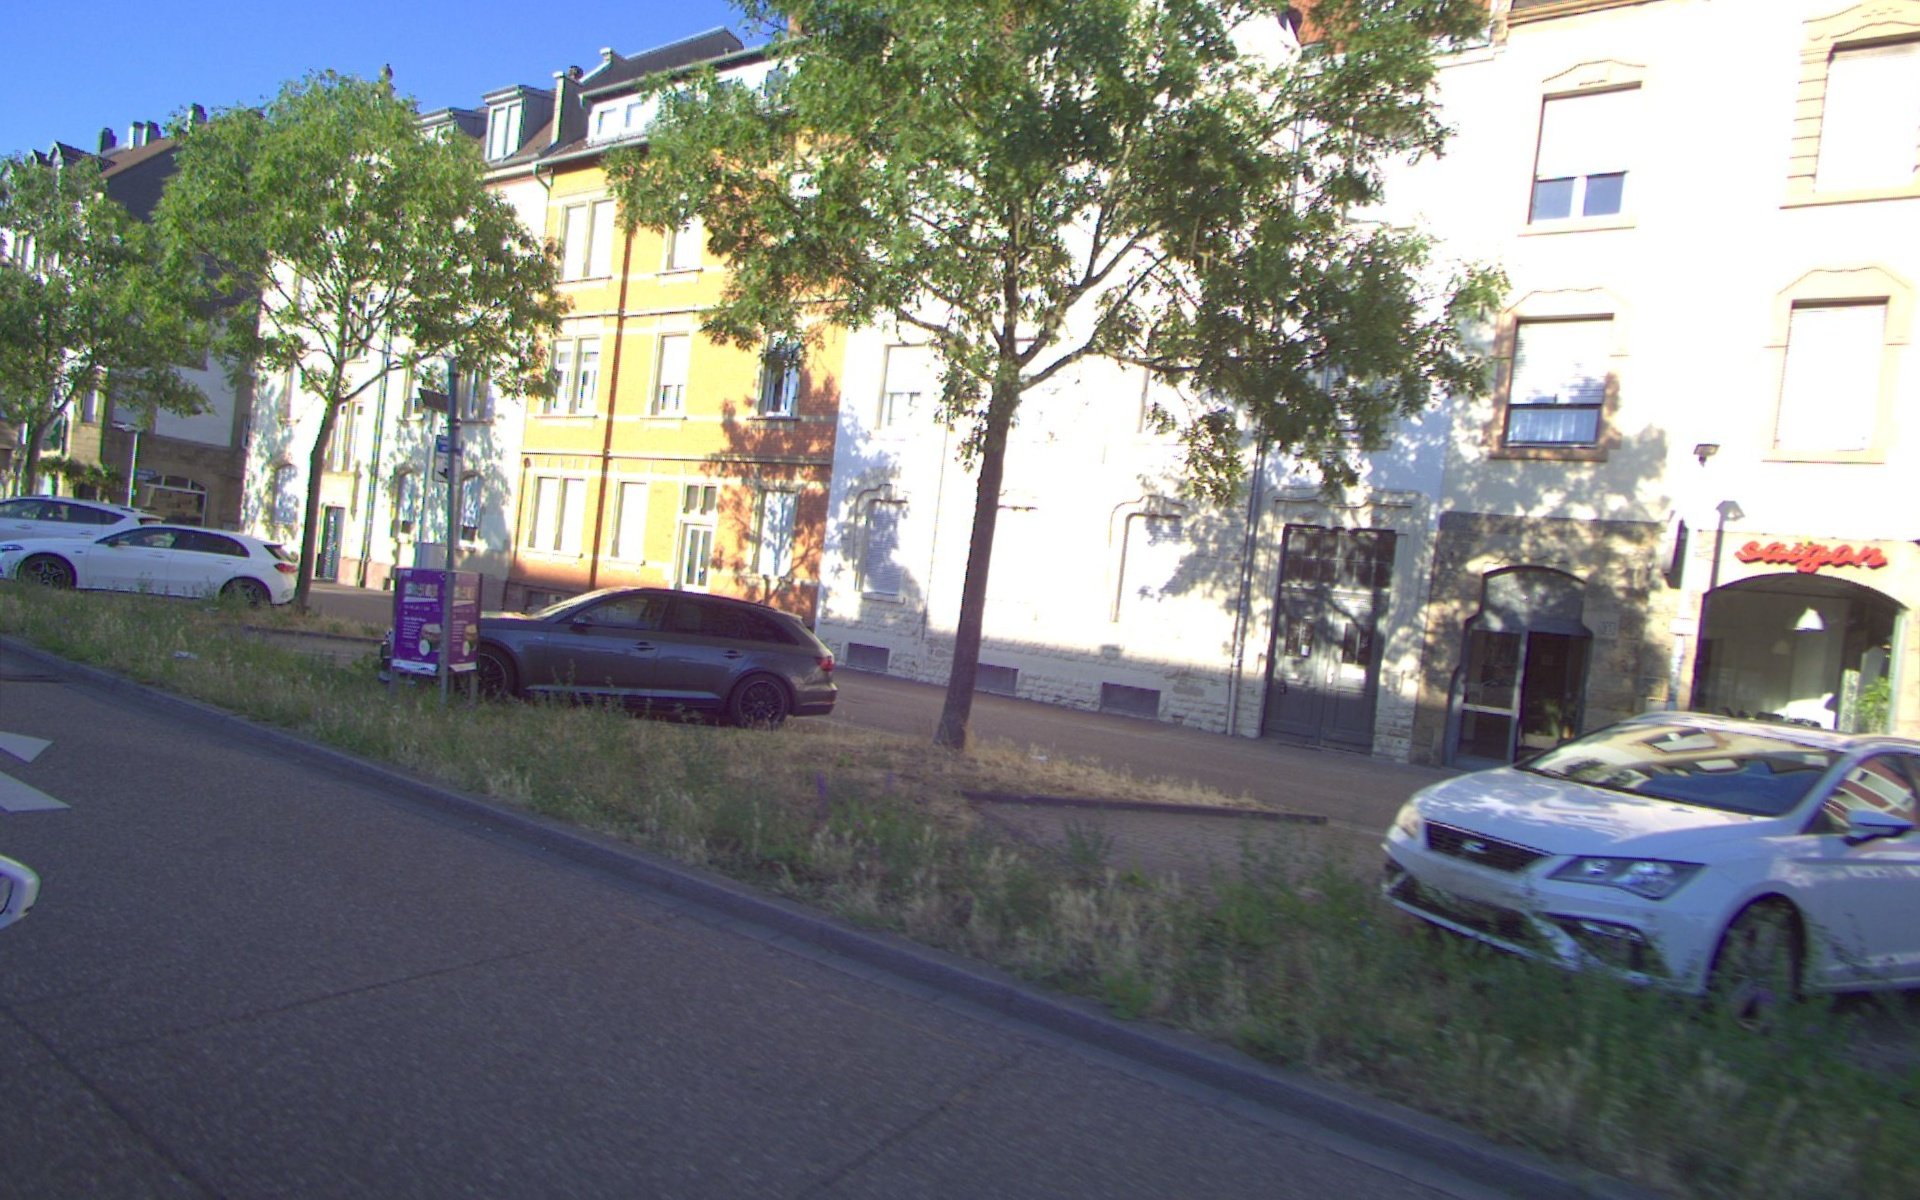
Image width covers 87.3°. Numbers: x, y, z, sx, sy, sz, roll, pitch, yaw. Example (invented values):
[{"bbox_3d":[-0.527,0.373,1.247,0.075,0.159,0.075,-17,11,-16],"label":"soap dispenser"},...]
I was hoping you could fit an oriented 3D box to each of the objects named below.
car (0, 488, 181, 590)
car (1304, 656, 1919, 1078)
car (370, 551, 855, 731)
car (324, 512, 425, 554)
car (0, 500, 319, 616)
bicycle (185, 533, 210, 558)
[{"bbox_3d":[-19.298,-1.376,20.941,4.376,1.712,1.905,8,-1,-23],"label":"car"},{"bbox_3d":[4.468,1.381,5.734,4.585,1.528,1.838,7,-1,-23],"label":"car"},{"bbox_3d":[-3.649,0.468,10.953,4.527,1.364,1.884,7,-1,-26],"label":"car"},{"bbox_3d":[-30.599,-3.464,52.648,1.966,1.484,3.993,9,1,31],"label":"car"},{"bbox_3d":[-14.255,-0.711,17.906,4.502,1.416,2.017,8,-1,-28],"label":"car"},{"bbox_3d":[-34.763,-2.492,45.864,0.626,0.959,1.861,7,0,-43],"label":"bicycle"}]
